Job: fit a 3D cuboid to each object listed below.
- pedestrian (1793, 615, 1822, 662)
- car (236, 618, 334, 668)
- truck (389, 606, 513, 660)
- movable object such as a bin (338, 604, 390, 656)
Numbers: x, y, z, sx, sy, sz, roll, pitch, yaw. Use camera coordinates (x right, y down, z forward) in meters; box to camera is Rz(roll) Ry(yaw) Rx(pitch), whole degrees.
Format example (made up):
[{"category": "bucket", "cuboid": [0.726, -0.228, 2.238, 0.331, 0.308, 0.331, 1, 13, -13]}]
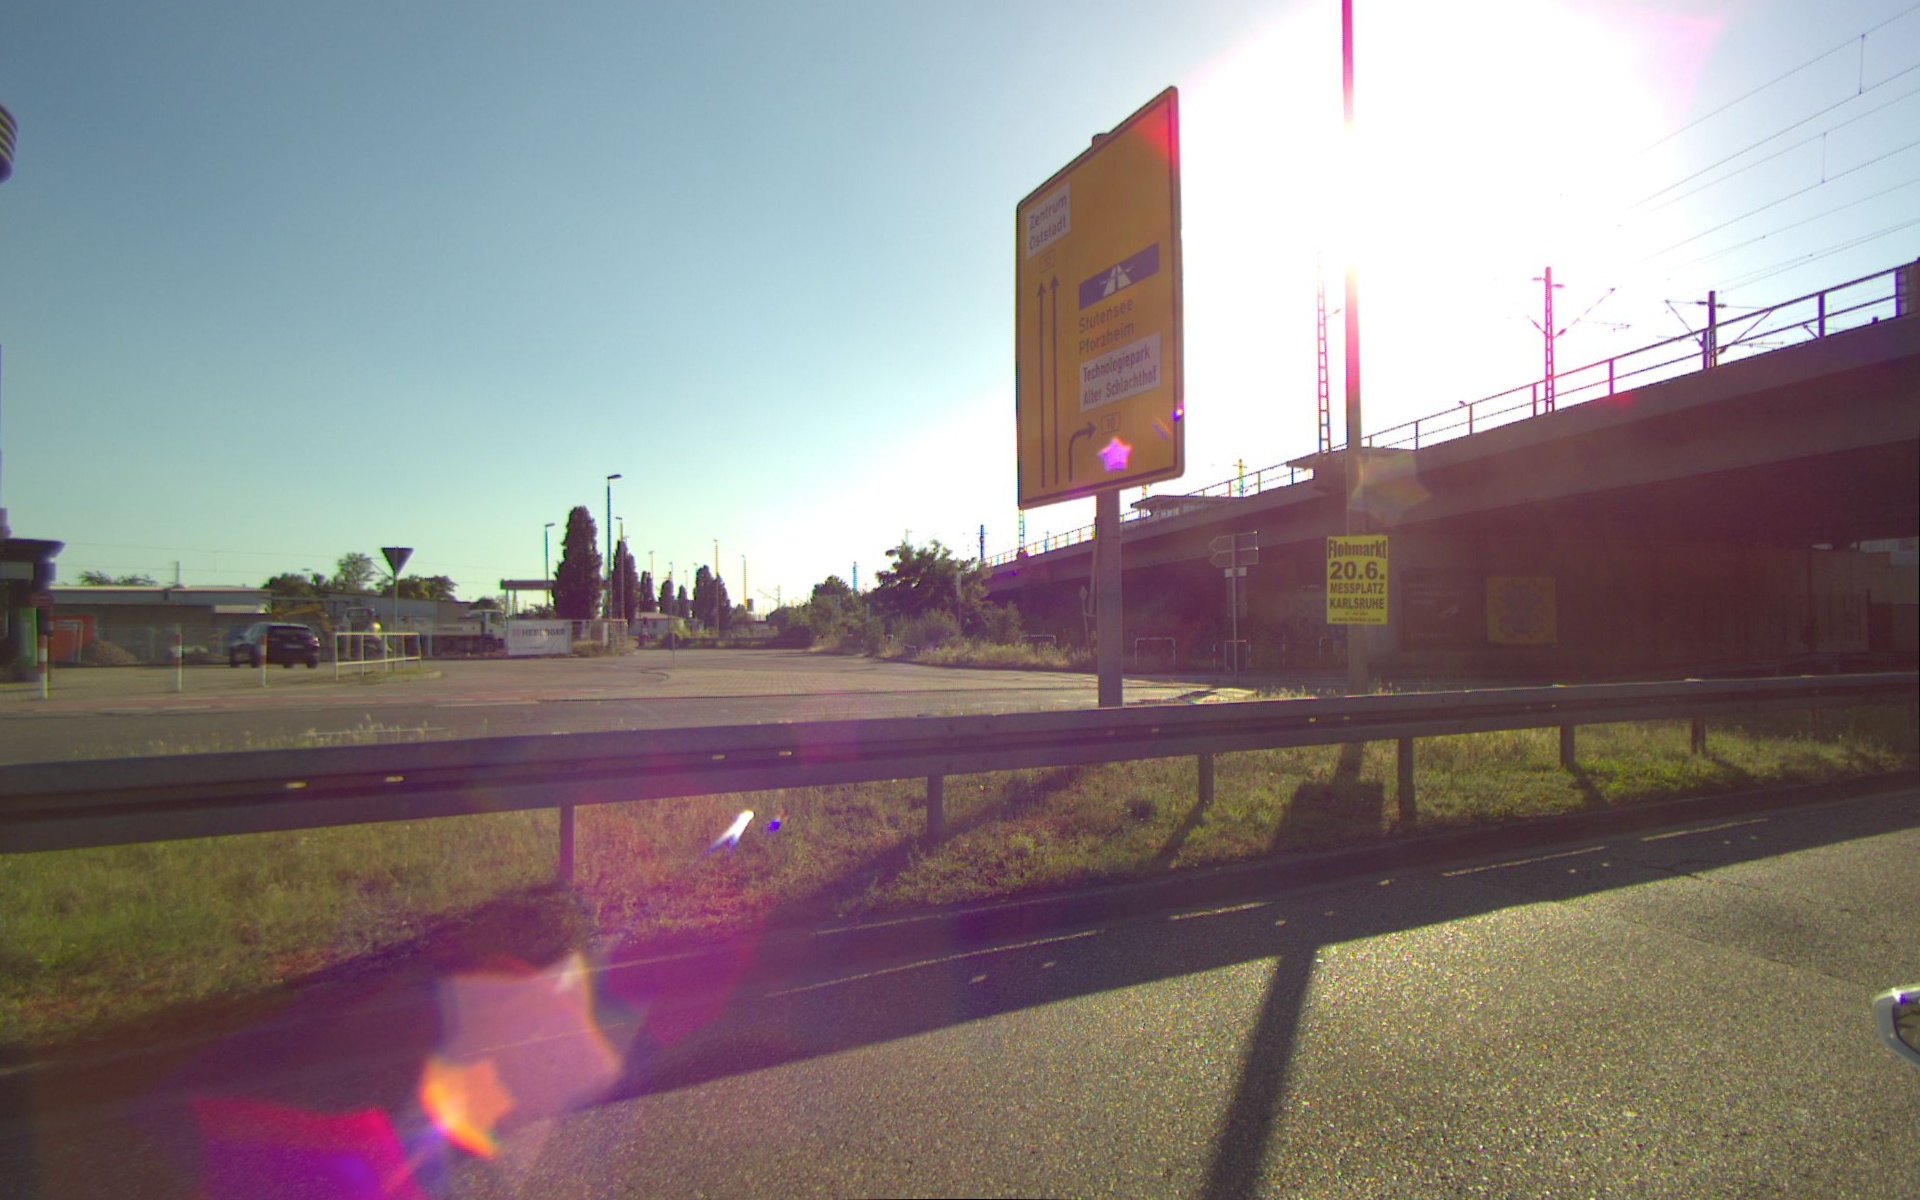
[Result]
[{"category": "pedestrian", "cuboid": [35.256, 1.611, 41.790, 0.655, 1.928, 0.693, 1, -1, -20]}, {"category": "car", "cuboid": [-22.504, 1.394, 33.417, 3.944, 1.550, 1.834, -1, -2, 43]}, {"category": "truck", "cuboid": [-31.982, 2.098, 63.404, 2.395, 3.186, 6.768, 0, -2, 30]}, {"category": "movable object such as a bin", "cuboid": [-32.653, 1.645, 55.013, 2.201, 2.751, 1.720, 2, -2, -38]}]
